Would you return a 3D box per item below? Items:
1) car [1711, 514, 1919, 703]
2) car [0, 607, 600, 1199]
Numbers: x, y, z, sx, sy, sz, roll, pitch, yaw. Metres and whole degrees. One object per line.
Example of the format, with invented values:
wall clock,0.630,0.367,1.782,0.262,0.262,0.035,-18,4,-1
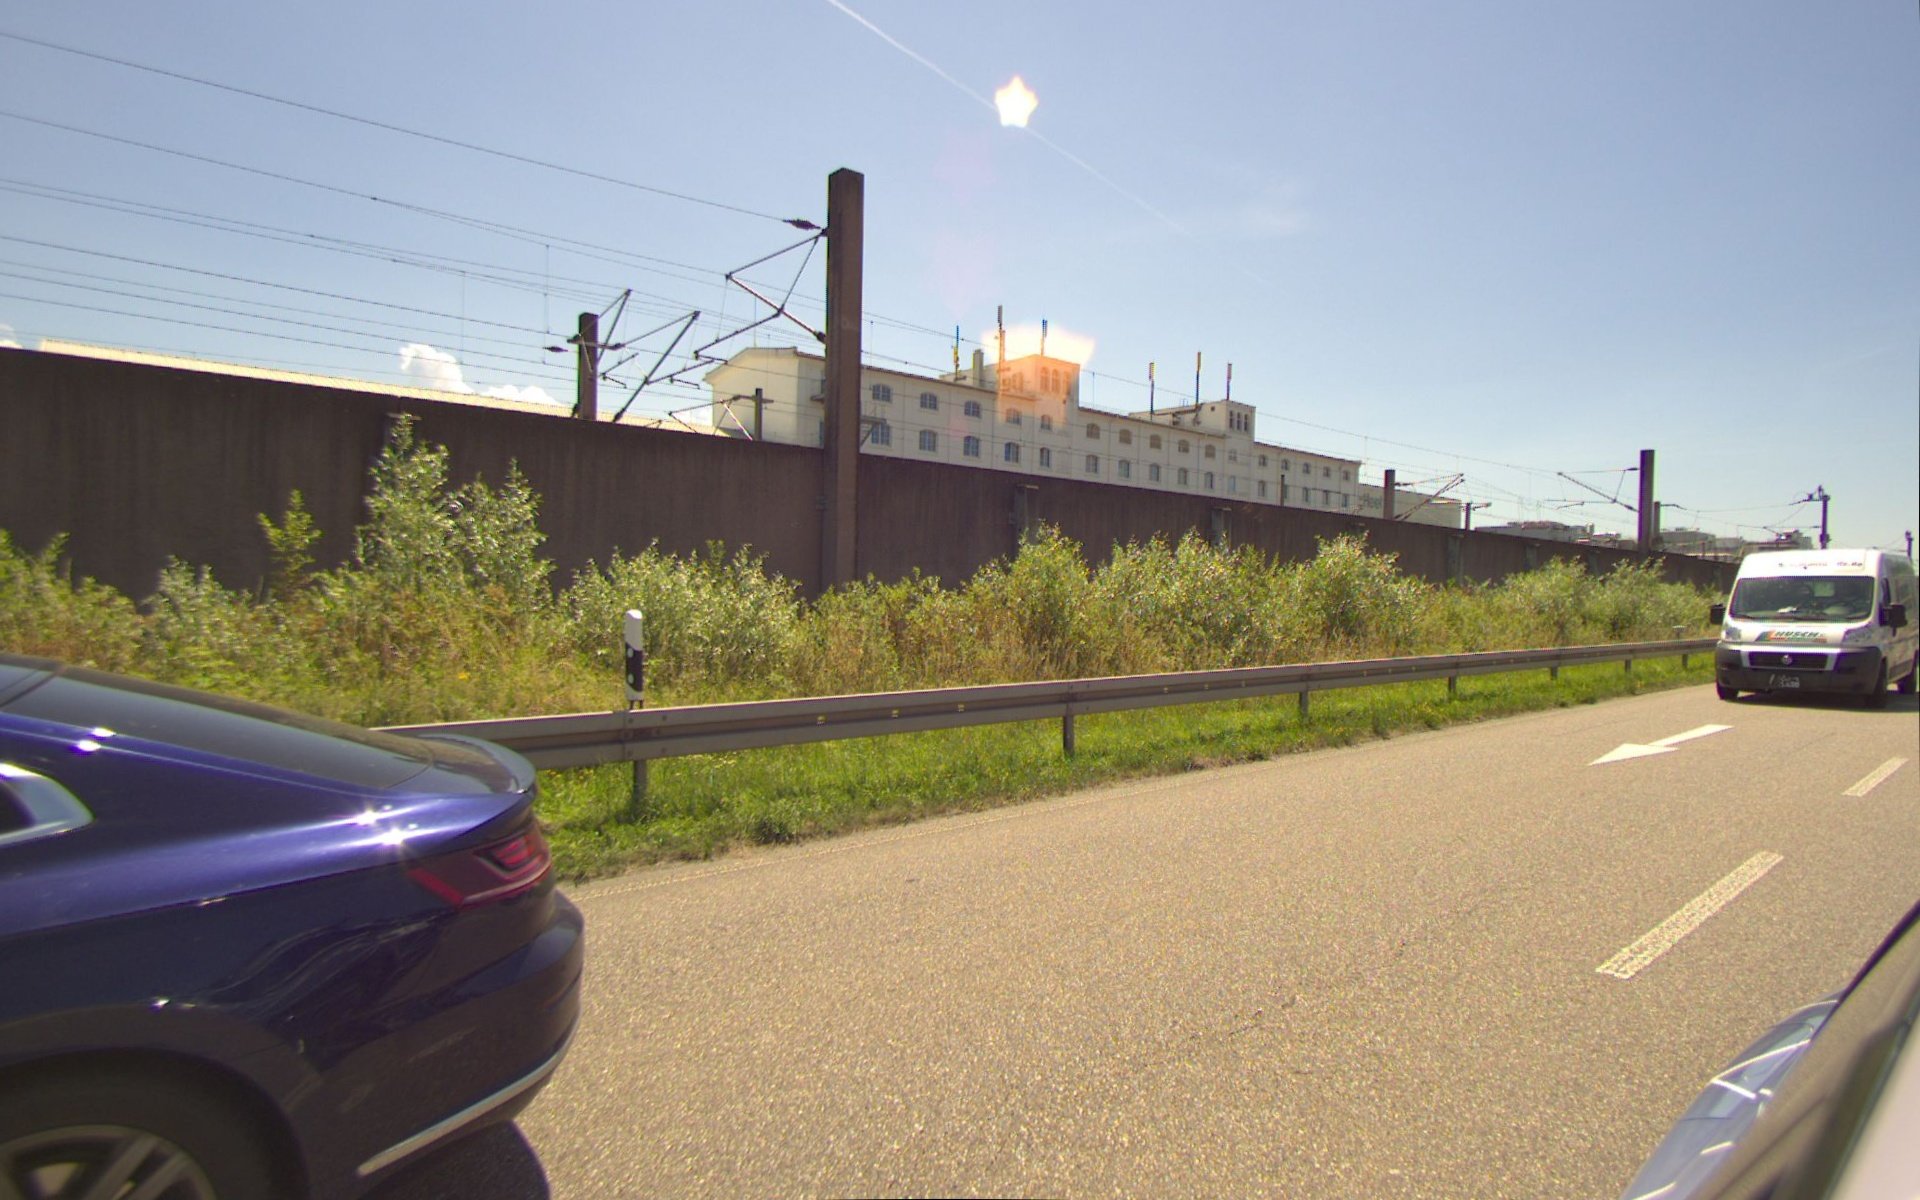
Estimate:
car,14.960,0.137,17.176,6.632,2.637,2.192,0,-1,-41
car,-3.022,0.712,1.370,4.423,1.397,1.860,0,-1,-40
